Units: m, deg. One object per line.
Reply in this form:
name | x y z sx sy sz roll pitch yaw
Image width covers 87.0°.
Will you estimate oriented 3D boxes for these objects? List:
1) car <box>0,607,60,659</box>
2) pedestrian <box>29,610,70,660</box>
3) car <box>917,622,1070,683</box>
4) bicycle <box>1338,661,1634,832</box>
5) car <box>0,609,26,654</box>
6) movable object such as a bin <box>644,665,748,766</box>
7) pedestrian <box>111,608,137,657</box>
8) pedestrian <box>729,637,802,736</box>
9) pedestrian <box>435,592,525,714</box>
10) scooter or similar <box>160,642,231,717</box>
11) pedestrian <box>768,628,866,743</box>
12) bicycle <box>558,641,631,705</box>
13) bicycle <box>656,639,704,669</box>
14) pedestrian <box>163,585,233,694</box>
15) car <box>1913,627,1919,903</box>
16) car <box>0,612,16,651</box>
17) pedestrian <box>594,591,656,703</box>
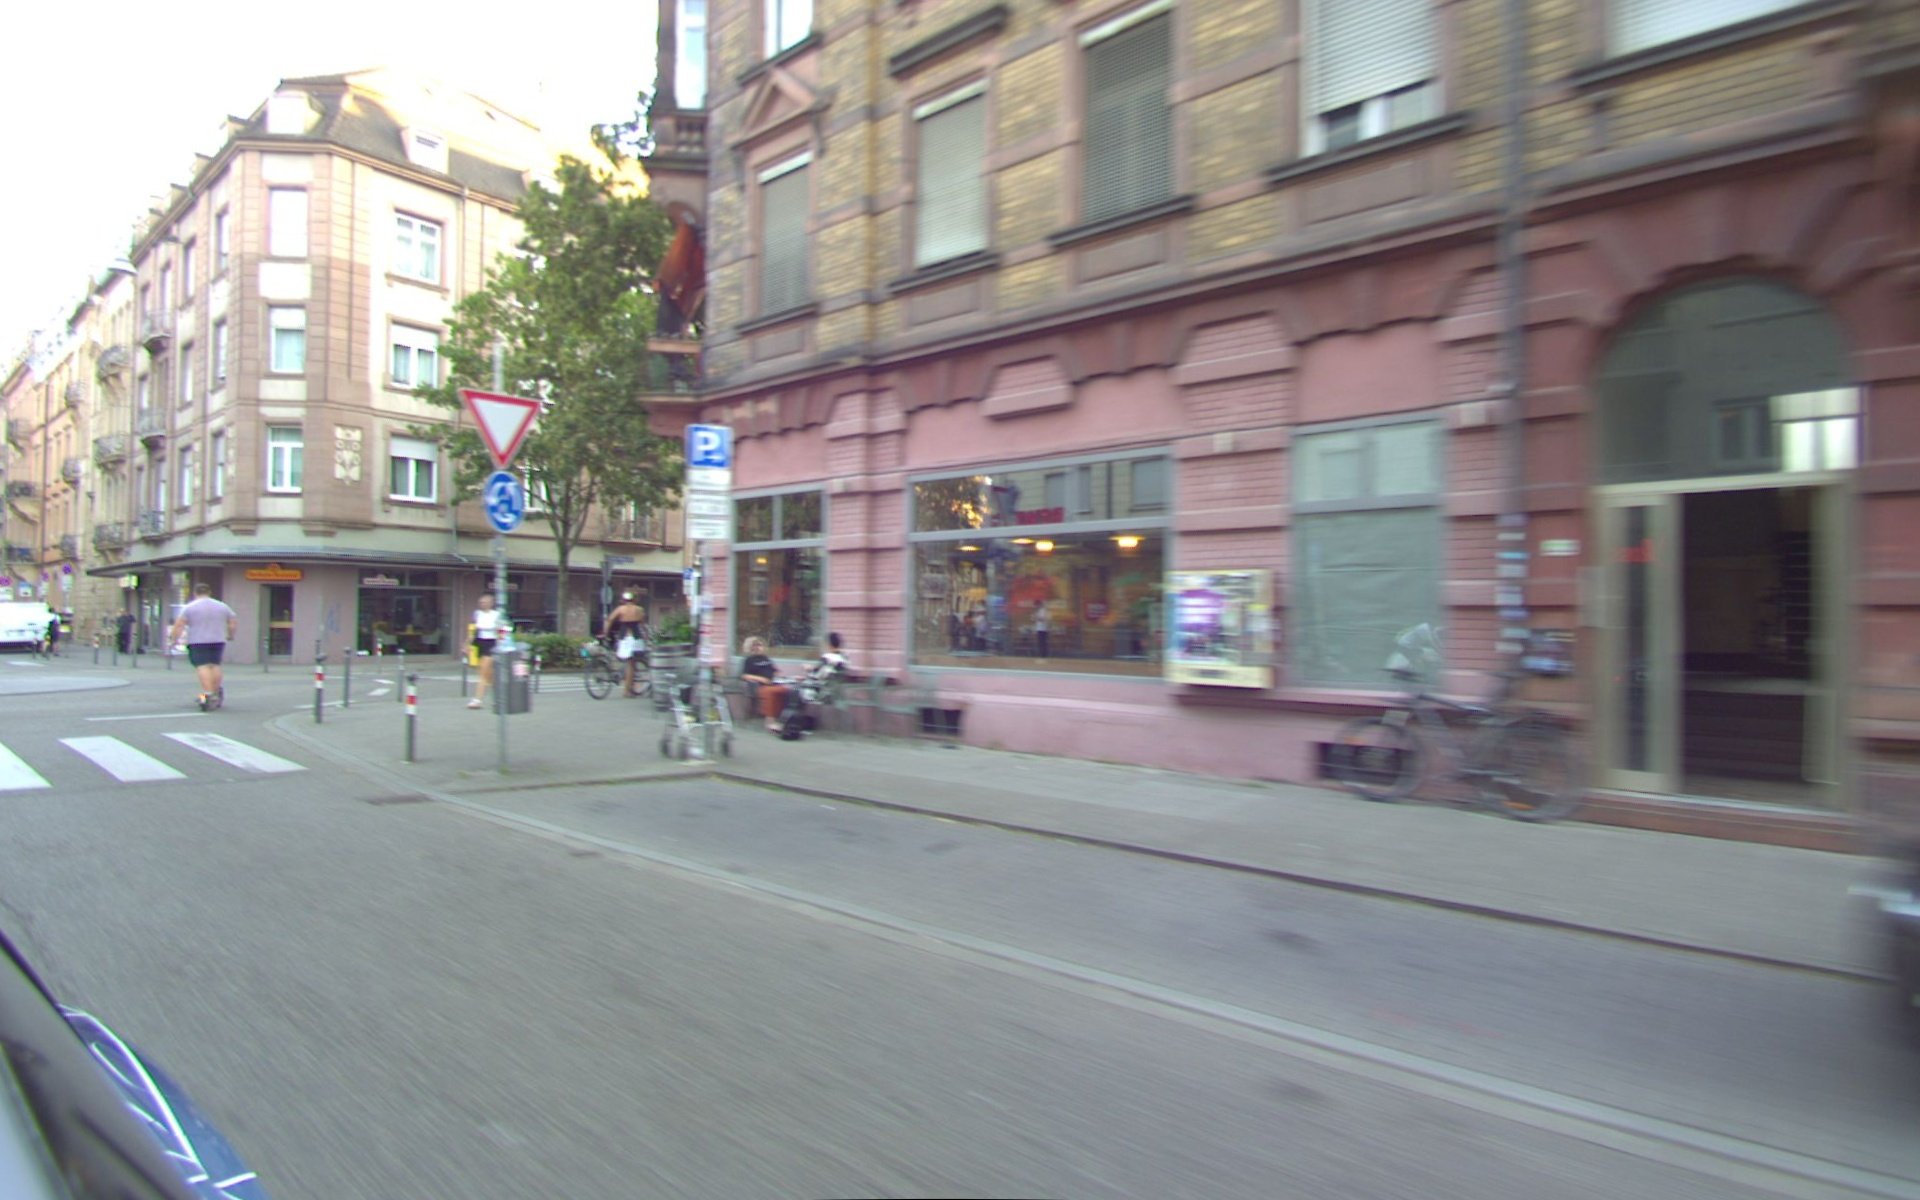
car | -37.985 1.296 40.573 4.765 1.973 2.114 -1 -1 40
pedestrian | -32.657 1.229 36.330 0.736 1.757 1.217 0 -1 -23
car | 0.963 1.534 30.836 4.471 1.637 1.864 1 0 41
bicycle | 3.817 1.014 7.488 1.899 1.061 0.420 -1 -2 44
car | -42.575 1.372 44.441 4.325 1.918 1.855 -1 -1 42
movable object such as a bin | -2.739 1.173 10.500 0.729 0.922 0.754 1 0 37
pedestrian | -30.539 1.181 36.976 0.645 1.792 0.694 0 -2 -31
pedestrian | -2.407 1.046 12.501 0.791 1.152 0.498 0 -1 42
pedestrian | -7.532 0.823 15.886 0.755 1.825 1.035 -4 -3 39
scooter or similar | -11.936 1.215 15.829 0.796 1.112 1.175 2 -3 -34
pedestrian | -1.672 0.985 11.886 0.903 1.264 0.644 -1 1 26
bicycle | -6.278 1.231 17.468 0.604 1.033 1.774 -2 -2 0
bicycle | -9.138 1.755 33.099 0.477 0.902 1.468 0 -1 45
pedestrian | -12.027 0.628 15.990 0.796 1.673 0.674 2 -3 -34
car | 4.640 0.787 2.092 3.855 1.431 1.675 -1 -1 44
car | -46.884 1.481 48.401 4.539 1.835 2.113 -1 -1 42
pedestrian | -5.821 0.807 17.617 0.715 1.869 1.022 -2 -2 1
